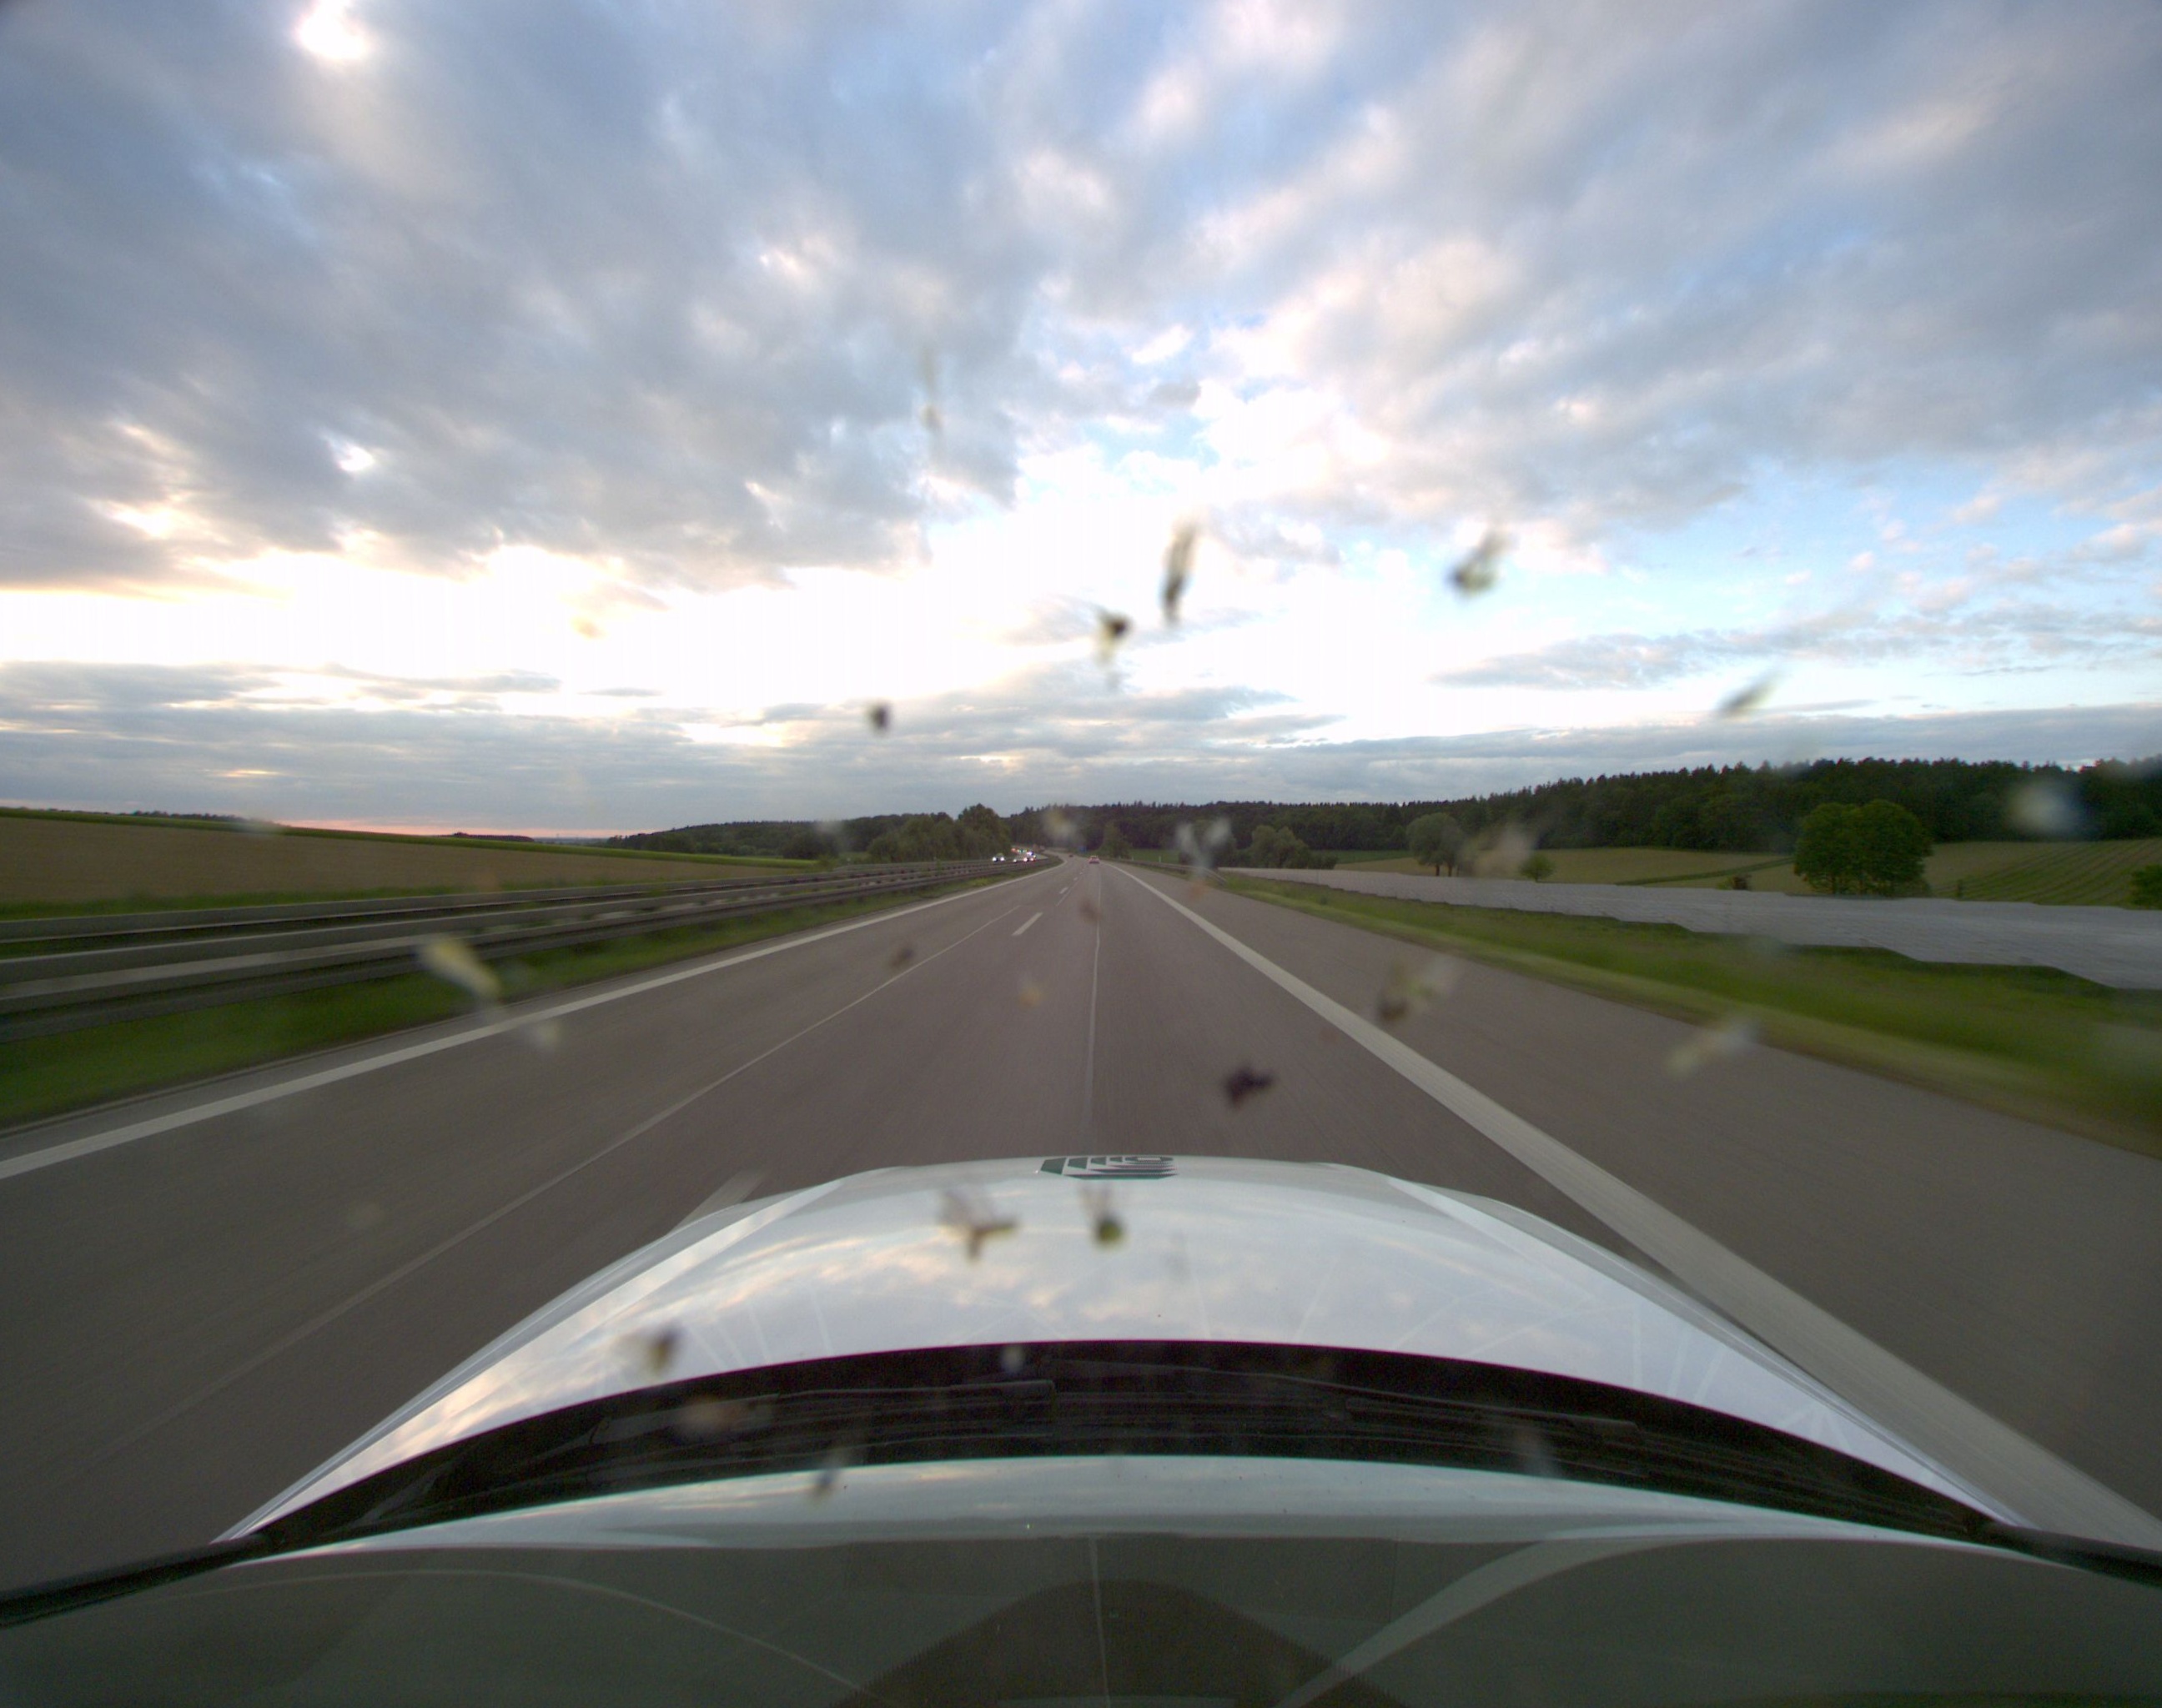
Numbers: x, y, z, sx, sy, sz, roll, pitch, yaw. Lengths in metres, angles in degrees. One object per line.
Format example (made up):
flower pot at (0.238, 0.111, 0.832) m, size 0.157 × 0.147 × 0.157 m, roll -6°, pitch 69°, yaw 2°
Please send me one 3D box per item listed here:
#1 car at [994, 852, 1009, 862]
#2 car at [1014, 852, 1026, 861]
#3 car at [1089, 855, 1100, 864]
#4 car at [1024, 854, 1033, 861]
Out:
car at (-14.201, 0.469, 145.979) m, size 1.879 × 1.693 × 5.770 m, roll 2°, pitch 0°, yaw 2°
car at (-10.568, 0.410, 140.660) m, size 1.560 × 1.365 × 4.622 m, roll 2°, pitch 0°, yaw 2°
car at (2.517, 1.068, 155.977) m, size 1.945 × 1.531 × 4.080 m, roll 2°, pitch 0°, yaw 0°
car at (-10.989, 0.740, 169.856) m, size 1.655 × 1.440 × 4.128 m, roll 2°, pitch 0°, yaw -1°
